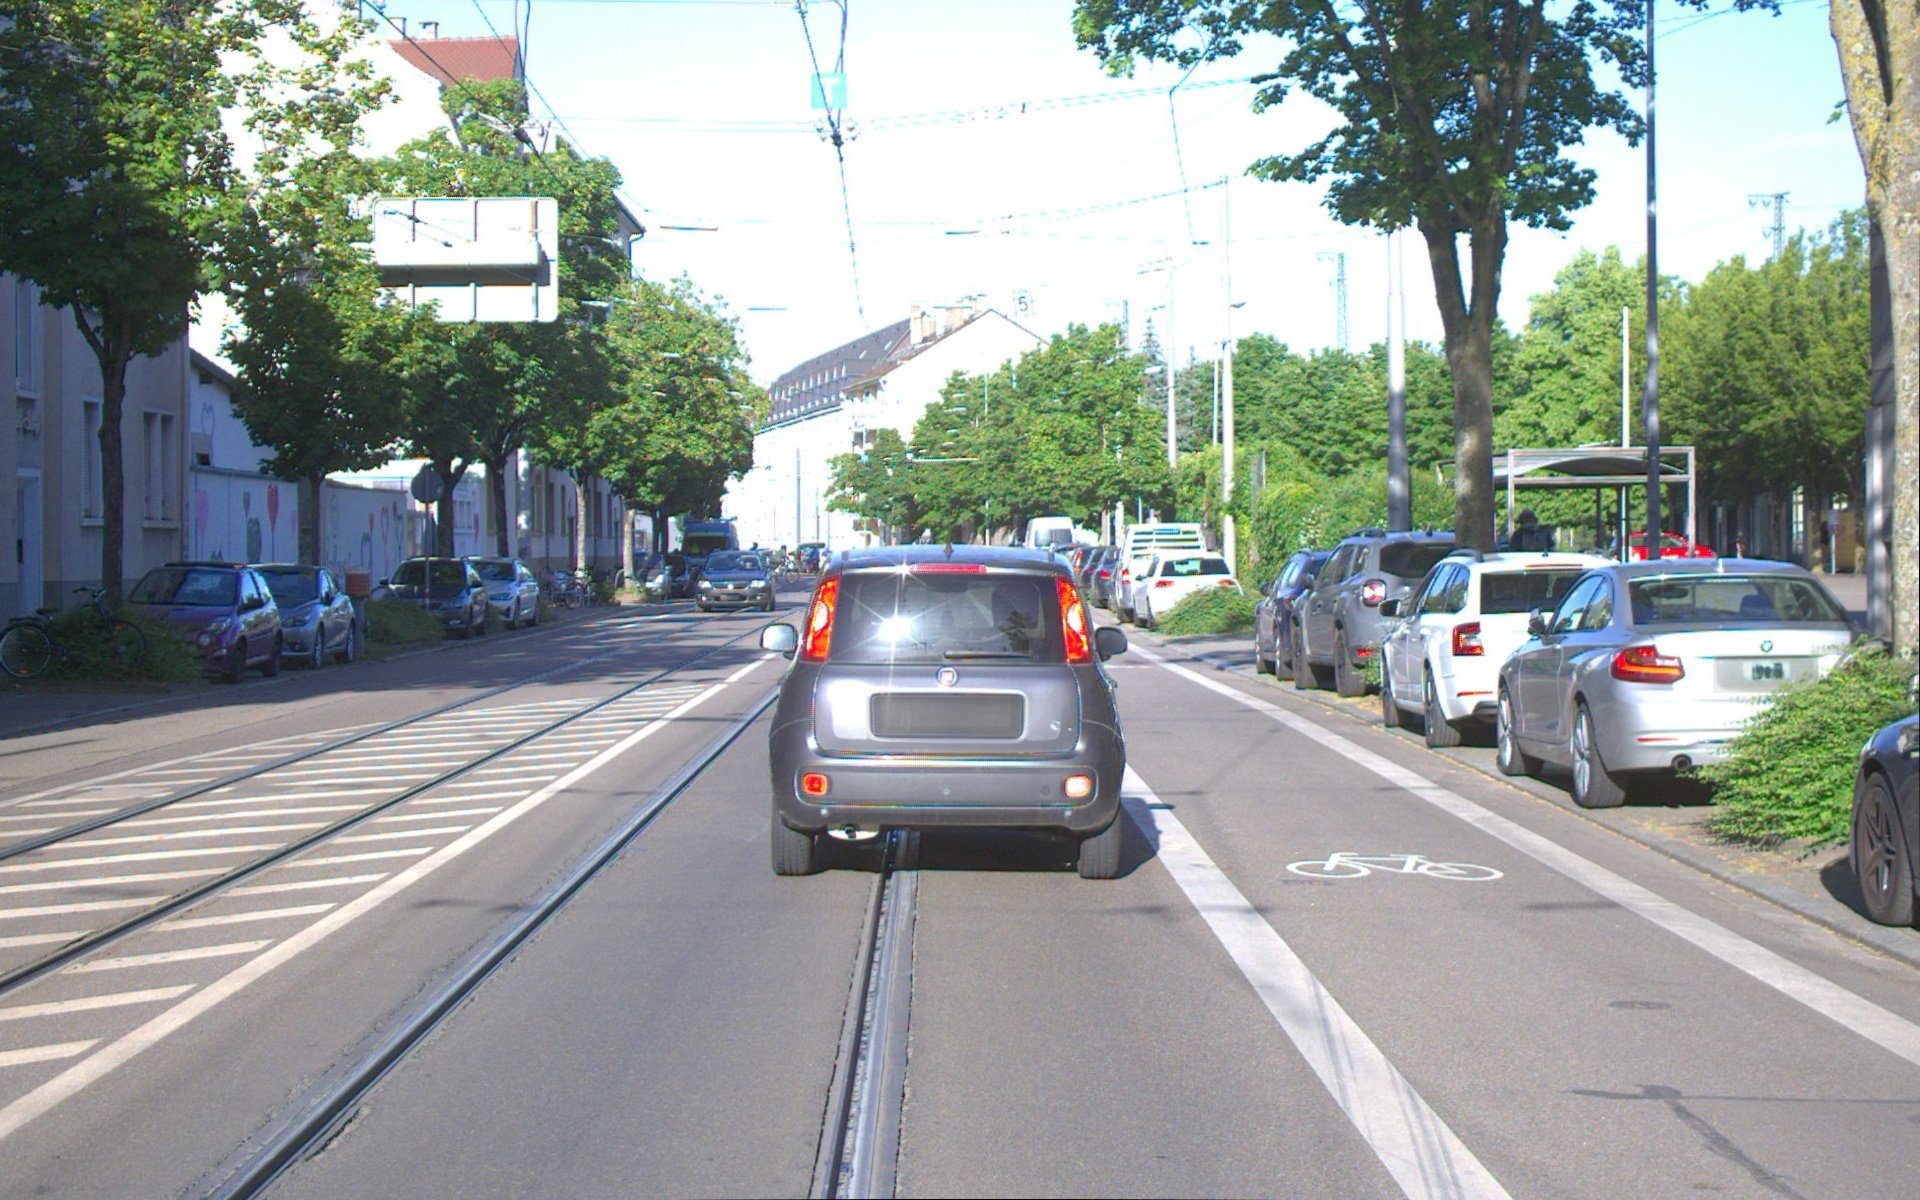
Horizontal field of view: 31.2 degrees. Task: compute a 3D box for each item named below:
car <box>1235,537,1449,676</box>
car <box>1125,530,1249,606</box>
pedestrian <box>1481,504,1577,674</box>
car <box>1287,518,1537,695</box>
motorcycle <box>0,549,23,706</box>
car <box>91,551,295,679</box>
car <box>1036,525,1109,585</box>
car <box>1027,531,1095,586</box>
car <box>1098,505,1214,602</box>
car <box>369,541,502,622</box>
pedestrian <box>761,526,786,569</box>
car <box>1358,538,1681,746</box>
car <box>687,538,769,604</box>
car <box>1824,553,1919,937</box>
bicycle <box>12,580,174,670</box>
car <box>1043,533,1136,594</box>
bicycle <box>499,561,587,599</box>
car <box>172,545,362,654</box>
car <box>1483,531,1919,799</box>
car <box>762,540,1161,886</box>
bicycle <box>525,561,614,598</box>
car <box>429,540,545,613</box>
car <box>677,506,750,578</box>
[{"bbox_3d":[4.343,0.029,39.667,1.842,1.478,4.188,-1,1,-2],"label":"car"},{"bbox_3d":[4.291,-0.631,65.520,1.914,1.371,4.188,-1,1,-2],"label":"car"},{"bbox_3d":[6.829,-0.139,41.274,0.968,2.007,1.025,-1,1,1],"label":"pedestrian"},{"bbox_3d":[4.471,0.019,34.567,1.817,1.634,4.105,-1,1,-2],"label":"car"},{"bbox_3d":[-9.832,0.290,31.925,1.458,1.476,3.102,-1,1,-2],"label":"motorcycle"},{"bbox_3d":[-9.645,0.152,43.490,1.797,1.481,4.001,-1,1,-2],"label":"car"},{"bbox_3d":[3.004,-1.216,92.506,1.695,1.542,4.001,-1,1,-2],"label":"car"},{"bbox_3d":[2.897,-1.208,98.928,1.695,1.494,4.001,-1,1,-2],"label":"car"},{"bbox_3d":[3.982,-0.965,70.427,1.955,1.898,4.188,-1,1,-2],"label":"car"},{"bbox_3d":[-9.760,-0.373,64.241,1.955,1.415,4.188,-1,1,-2],"label":"car"},{"bbox_3d":[-7.877,-2.224,145.133,0.998,1.768,0.890,-1,1,-5],"label":"pedestrian"},{"bbox_3d":[4.290,0.262,27.011,1.746,1.453,4.619,-1,1,0],"label":"car"},{"bbox_3d":[-5.476,-0.706,81.508,1.781,1.487,4.188,0,1,-2],"label":"car"},{"bbox_3d":[4.695,0.582,12.388,1.839,1.485,4.643,-1,1,-2],"label":"car"},{"bbox_3d":[-9.970,0.285,39.520,1.744,1.020,0.609,0,0,-20],"label":"bicycle"},{"bbox_3d":[3.139,-0.904,84.100,1.955,1.415,4.188,-1,1,-2],"label":"car"},{"bbox_3d":[-10.592,-0.513,87.344,2.263,0.927,0.789,0,1,35],"label":"bicycle"},{"bbox_3d":[-9.769,-0.039,48.729,1.955,1.415,4.188,-1,1,-2],"label":"car"},{"bbox_3d":[4.467,0.318,21.071,1.822,1.459,4.157,-1,1,-1],"label":"car"},{"bbox_3d":[-0.004,0.470,17.007,1.731,1.495,4.000,-1,1,0],"label":"car"},{"bbox_3d":[-10.027,-0.522,88.261,2.322,0.927,0.789,0,1,35],"label":"bicycle"},{"bbox_3d":[-9.804,-0.510,71.552,1.955,1.415,4.188,-1,1,-2],"label":"car"},{"bbox_3d":[-9.050,-2.145,126.619,2.333,2.560,5.672,-1,1,-1],"label":"car"}]
